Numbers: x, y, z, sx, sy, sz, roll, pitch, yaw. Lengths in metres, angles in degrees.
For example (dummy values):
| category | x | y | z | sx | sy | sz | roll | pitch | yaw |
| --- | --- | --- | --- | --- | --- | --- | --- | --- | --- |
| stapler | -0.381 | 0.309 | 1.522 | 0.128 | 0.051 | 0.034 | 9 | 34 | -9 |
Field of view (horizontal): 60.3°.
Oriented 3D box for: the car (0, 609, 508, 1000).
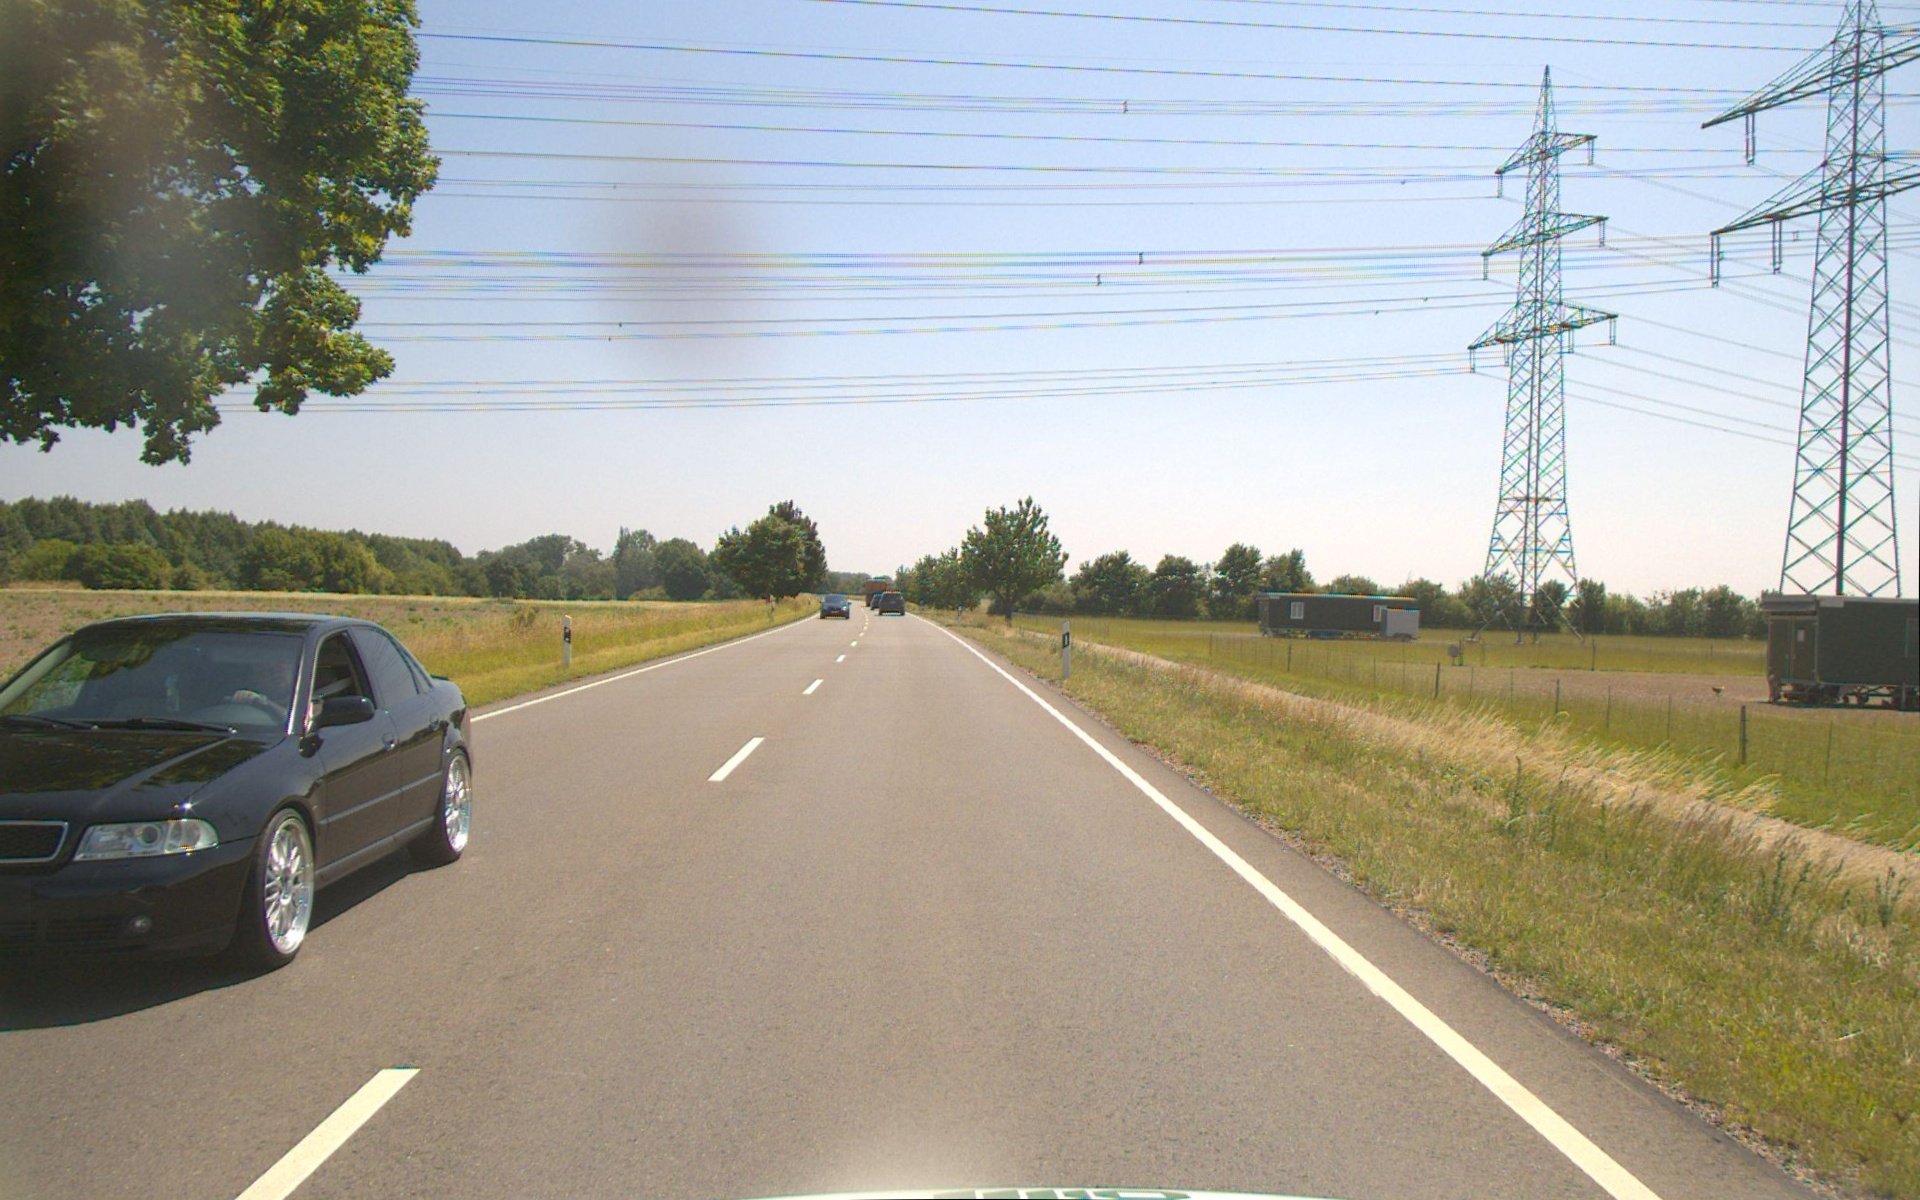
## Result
| category | x | y | z | sx | sy | sz | roll | pitch | yaw |
| --- | --- | --- | --- | --- | --- | --- | --- | --- | --- |
| car | -3.453 | 0.735 | 7.824 | 1.671 | 1.356 | 3.998 | 1 | 0 | -3 |

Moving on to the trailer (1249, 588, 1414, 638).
| category | x | y | z | sx | sy | sz | roll | pitch | yaw |
| --- | --- | --- | --- | --- | --- | --- | --- | --- | --- |
| trailer | 29.473 | 1.012 | 131.473 | 12.168 | 3.533 | 3.802 | 2 | 0 | -5 |

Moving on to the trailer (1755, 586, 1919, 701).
| category | x | y | z | sx | sy | sz | roll | pitch | yaw |
| --- | --- | --- | --- | --- | --- | --- | --- | --- | --- |
| trailer | 33.433 | 1.543 | 54.340 | 13.241 | 3.535 | 3.274 | 2 | 0 | -4 |

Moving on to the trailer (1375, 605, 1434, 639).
| category | x | y | z | sx | sy | sz | roll | pitch | yaw |
| --- | --- | --- | --- | --- | --- | --- | --- | --- | --- |
| trailer | 34.581 | 1.687 | 128.823 | 3.911 | 2.485 | 1.997 | 2 | 0 | -7 |

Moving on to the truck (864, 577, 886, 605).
| category | x | y | z | sx | sy | sz | roll | pitch | yaw |
| --- | --- | --- | --- | --- | --- | --- | --- | --- | --- |
| truck | -10.100 | -1.007 | 196.667 | 2.324 | 3.195 | 8.739 | 1 | 0 | -5 |

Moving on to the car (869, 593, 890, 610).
| category | x | y | z | sx | sy | sz | roll | pitch | yaw |
| --- | --- | --- | --- | --- | --- | --- | --- | --- | --- |
| car | -7.595 | 0.175 | 155.862 | 1.814 | 1.549 | 3.997 | 1 | 0 | -4 |

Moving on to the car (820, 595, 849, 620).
| category | x | y | z | sx | sy | sz | roll | pitch | yaw |
| --- | --- | --- | --- | --- | --- | --- | --- | --- | --- |
| car | -7.669 | 0.476 | 100.740 | 1.701 | 1.472 | 3.995 | 1 | 0 | -5 |

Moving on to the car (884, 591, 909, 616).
| category | x | y | z | sx | sy | sz | roll | pitch | yaw |
| --- | --- | --- | --- | --- | --- | --- | --- | --- | --- |
| car | -4.628 | 0.267 | 120.415 | 1.681 | 1.723 | 3.985 | 1 | 0 | -4 |
